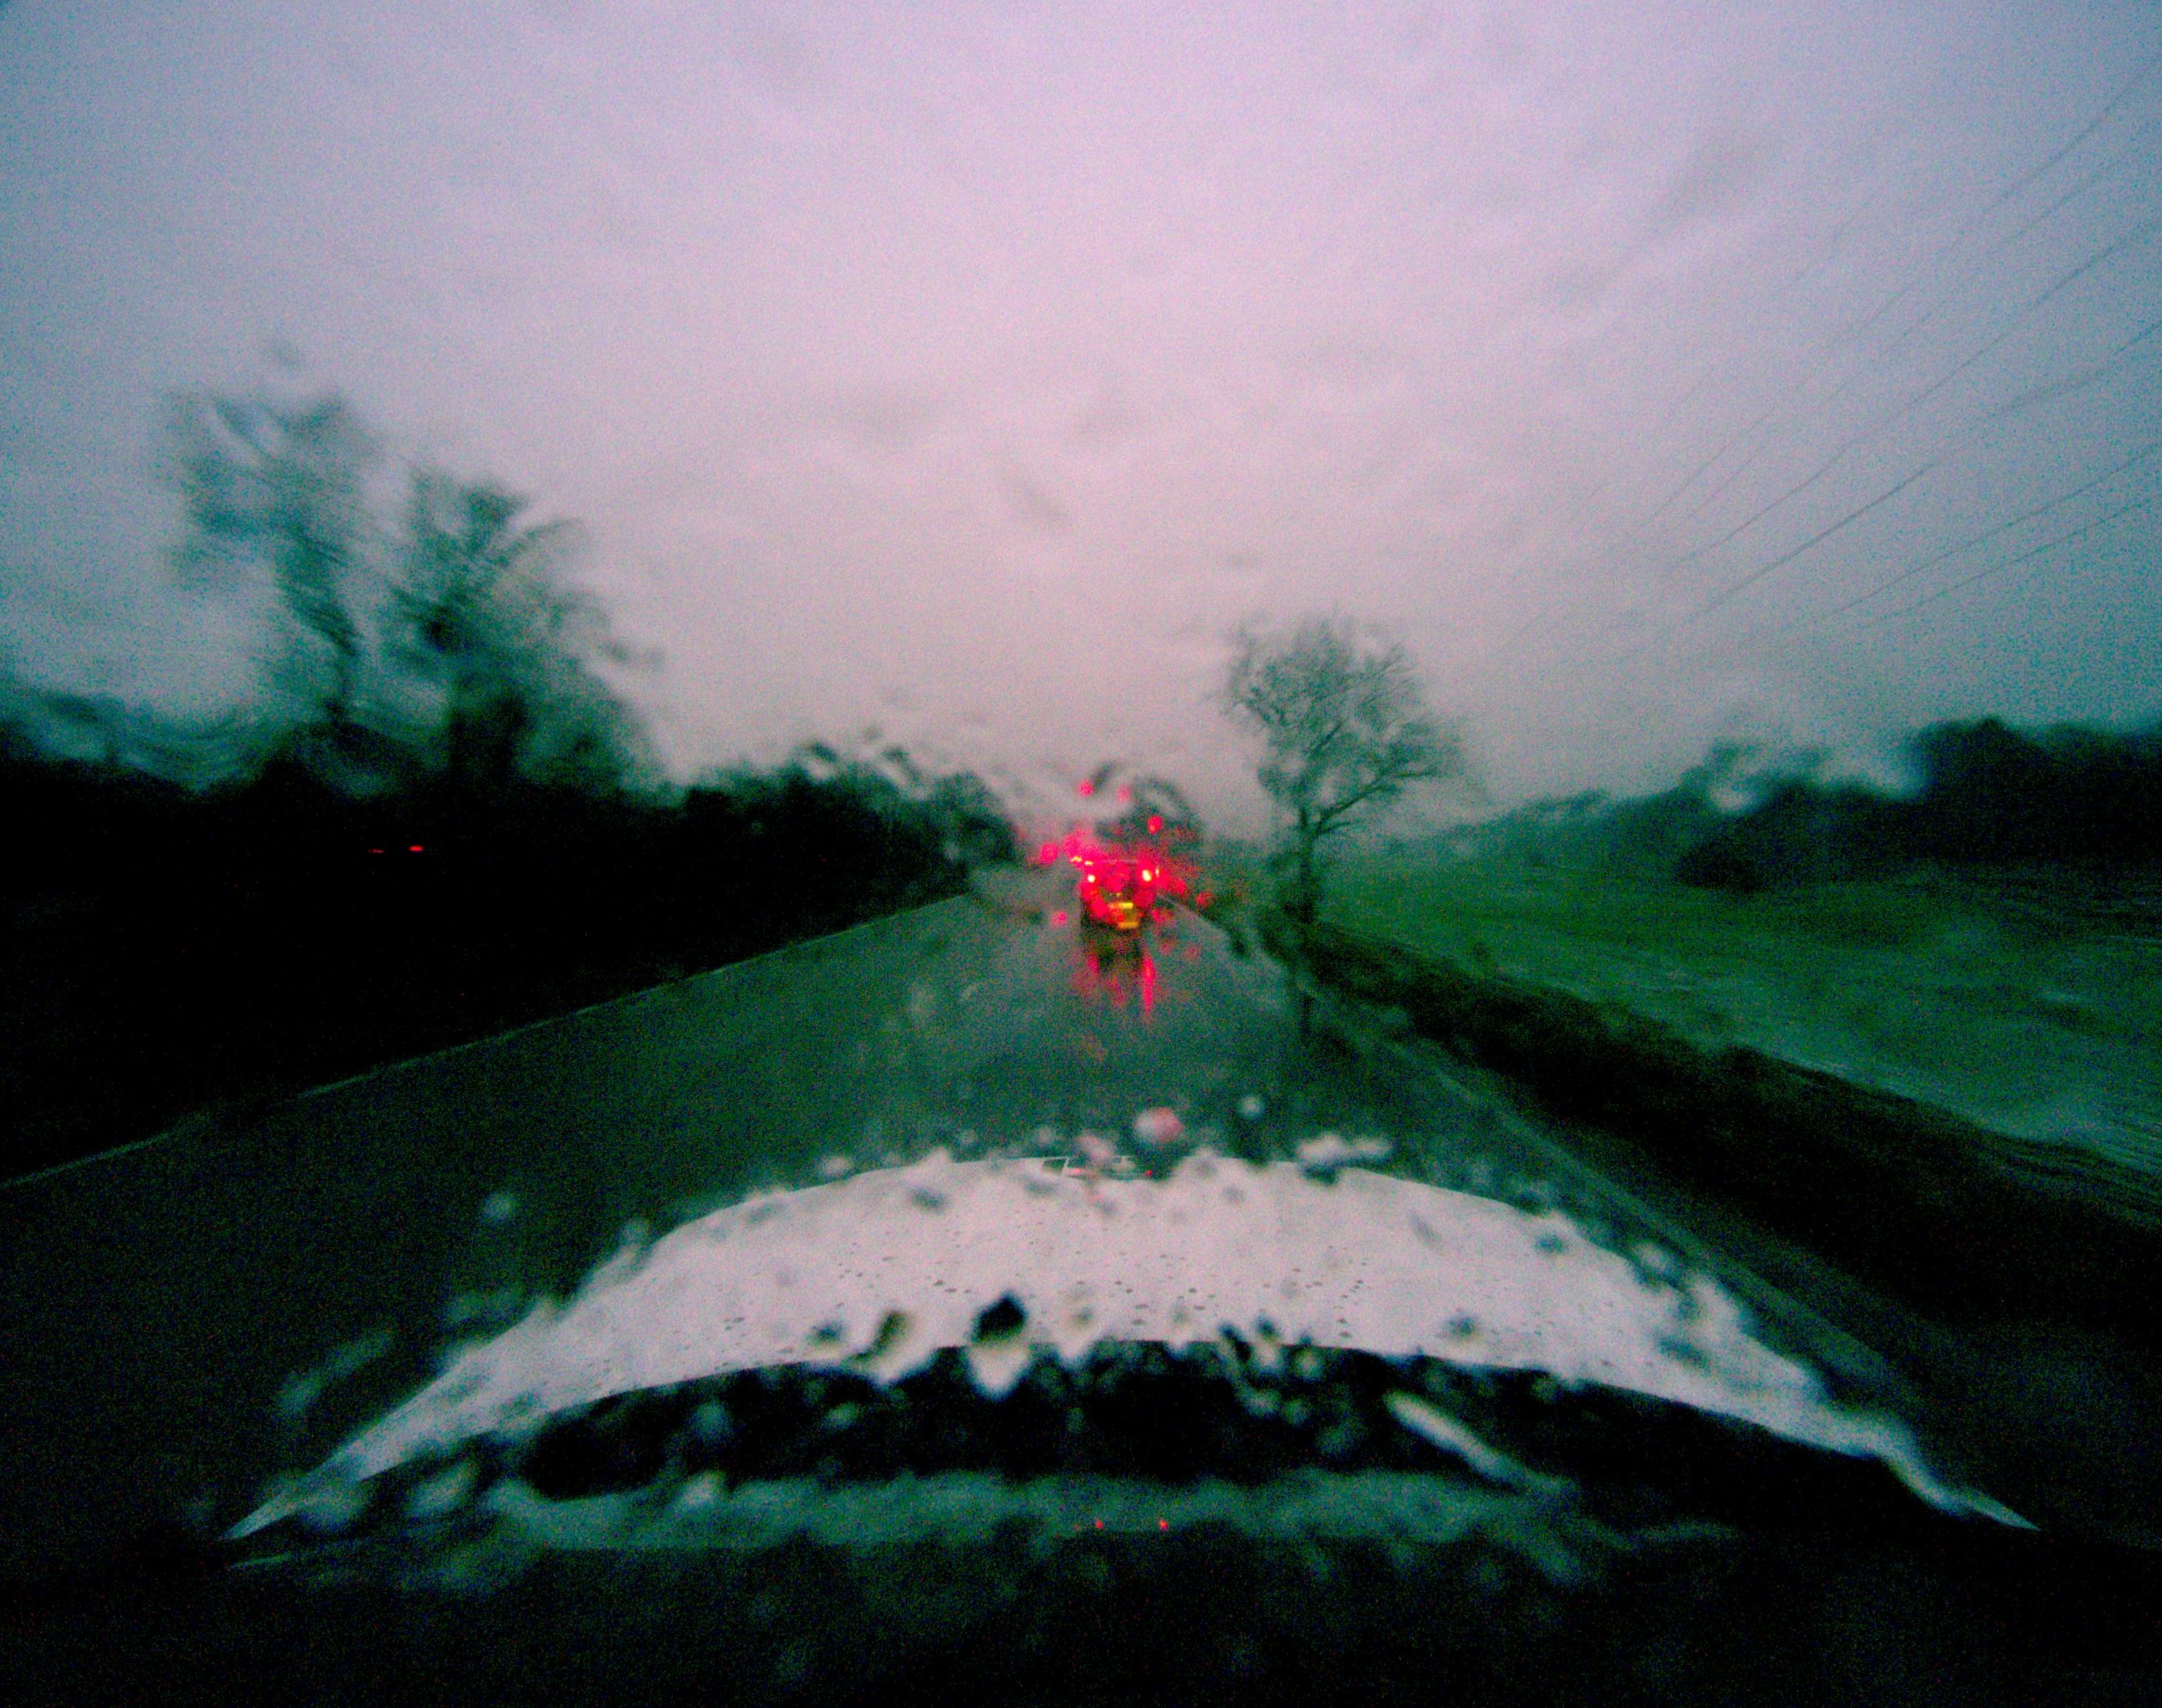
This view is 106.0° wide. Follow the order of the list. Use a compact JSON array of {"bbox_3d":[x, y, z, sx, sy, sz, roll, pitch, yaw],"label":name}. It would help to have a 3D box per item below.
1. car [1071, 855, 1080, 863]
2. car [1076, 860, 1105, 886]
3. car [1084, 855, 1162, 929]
[{"bbox_3d":[-0.979,0.890,141.551,1.542,1.397,3.868,0,0,0],"label":"car"},{"bbox_3d":[0.484,1.023,46.203,1.542,1.397,3.867,0,0,-1],"label":"car"},{"bbox_3d":[0.937,0.802,18.753,1.596,1.522,3.871,0,0,2],"label":"car"}]
